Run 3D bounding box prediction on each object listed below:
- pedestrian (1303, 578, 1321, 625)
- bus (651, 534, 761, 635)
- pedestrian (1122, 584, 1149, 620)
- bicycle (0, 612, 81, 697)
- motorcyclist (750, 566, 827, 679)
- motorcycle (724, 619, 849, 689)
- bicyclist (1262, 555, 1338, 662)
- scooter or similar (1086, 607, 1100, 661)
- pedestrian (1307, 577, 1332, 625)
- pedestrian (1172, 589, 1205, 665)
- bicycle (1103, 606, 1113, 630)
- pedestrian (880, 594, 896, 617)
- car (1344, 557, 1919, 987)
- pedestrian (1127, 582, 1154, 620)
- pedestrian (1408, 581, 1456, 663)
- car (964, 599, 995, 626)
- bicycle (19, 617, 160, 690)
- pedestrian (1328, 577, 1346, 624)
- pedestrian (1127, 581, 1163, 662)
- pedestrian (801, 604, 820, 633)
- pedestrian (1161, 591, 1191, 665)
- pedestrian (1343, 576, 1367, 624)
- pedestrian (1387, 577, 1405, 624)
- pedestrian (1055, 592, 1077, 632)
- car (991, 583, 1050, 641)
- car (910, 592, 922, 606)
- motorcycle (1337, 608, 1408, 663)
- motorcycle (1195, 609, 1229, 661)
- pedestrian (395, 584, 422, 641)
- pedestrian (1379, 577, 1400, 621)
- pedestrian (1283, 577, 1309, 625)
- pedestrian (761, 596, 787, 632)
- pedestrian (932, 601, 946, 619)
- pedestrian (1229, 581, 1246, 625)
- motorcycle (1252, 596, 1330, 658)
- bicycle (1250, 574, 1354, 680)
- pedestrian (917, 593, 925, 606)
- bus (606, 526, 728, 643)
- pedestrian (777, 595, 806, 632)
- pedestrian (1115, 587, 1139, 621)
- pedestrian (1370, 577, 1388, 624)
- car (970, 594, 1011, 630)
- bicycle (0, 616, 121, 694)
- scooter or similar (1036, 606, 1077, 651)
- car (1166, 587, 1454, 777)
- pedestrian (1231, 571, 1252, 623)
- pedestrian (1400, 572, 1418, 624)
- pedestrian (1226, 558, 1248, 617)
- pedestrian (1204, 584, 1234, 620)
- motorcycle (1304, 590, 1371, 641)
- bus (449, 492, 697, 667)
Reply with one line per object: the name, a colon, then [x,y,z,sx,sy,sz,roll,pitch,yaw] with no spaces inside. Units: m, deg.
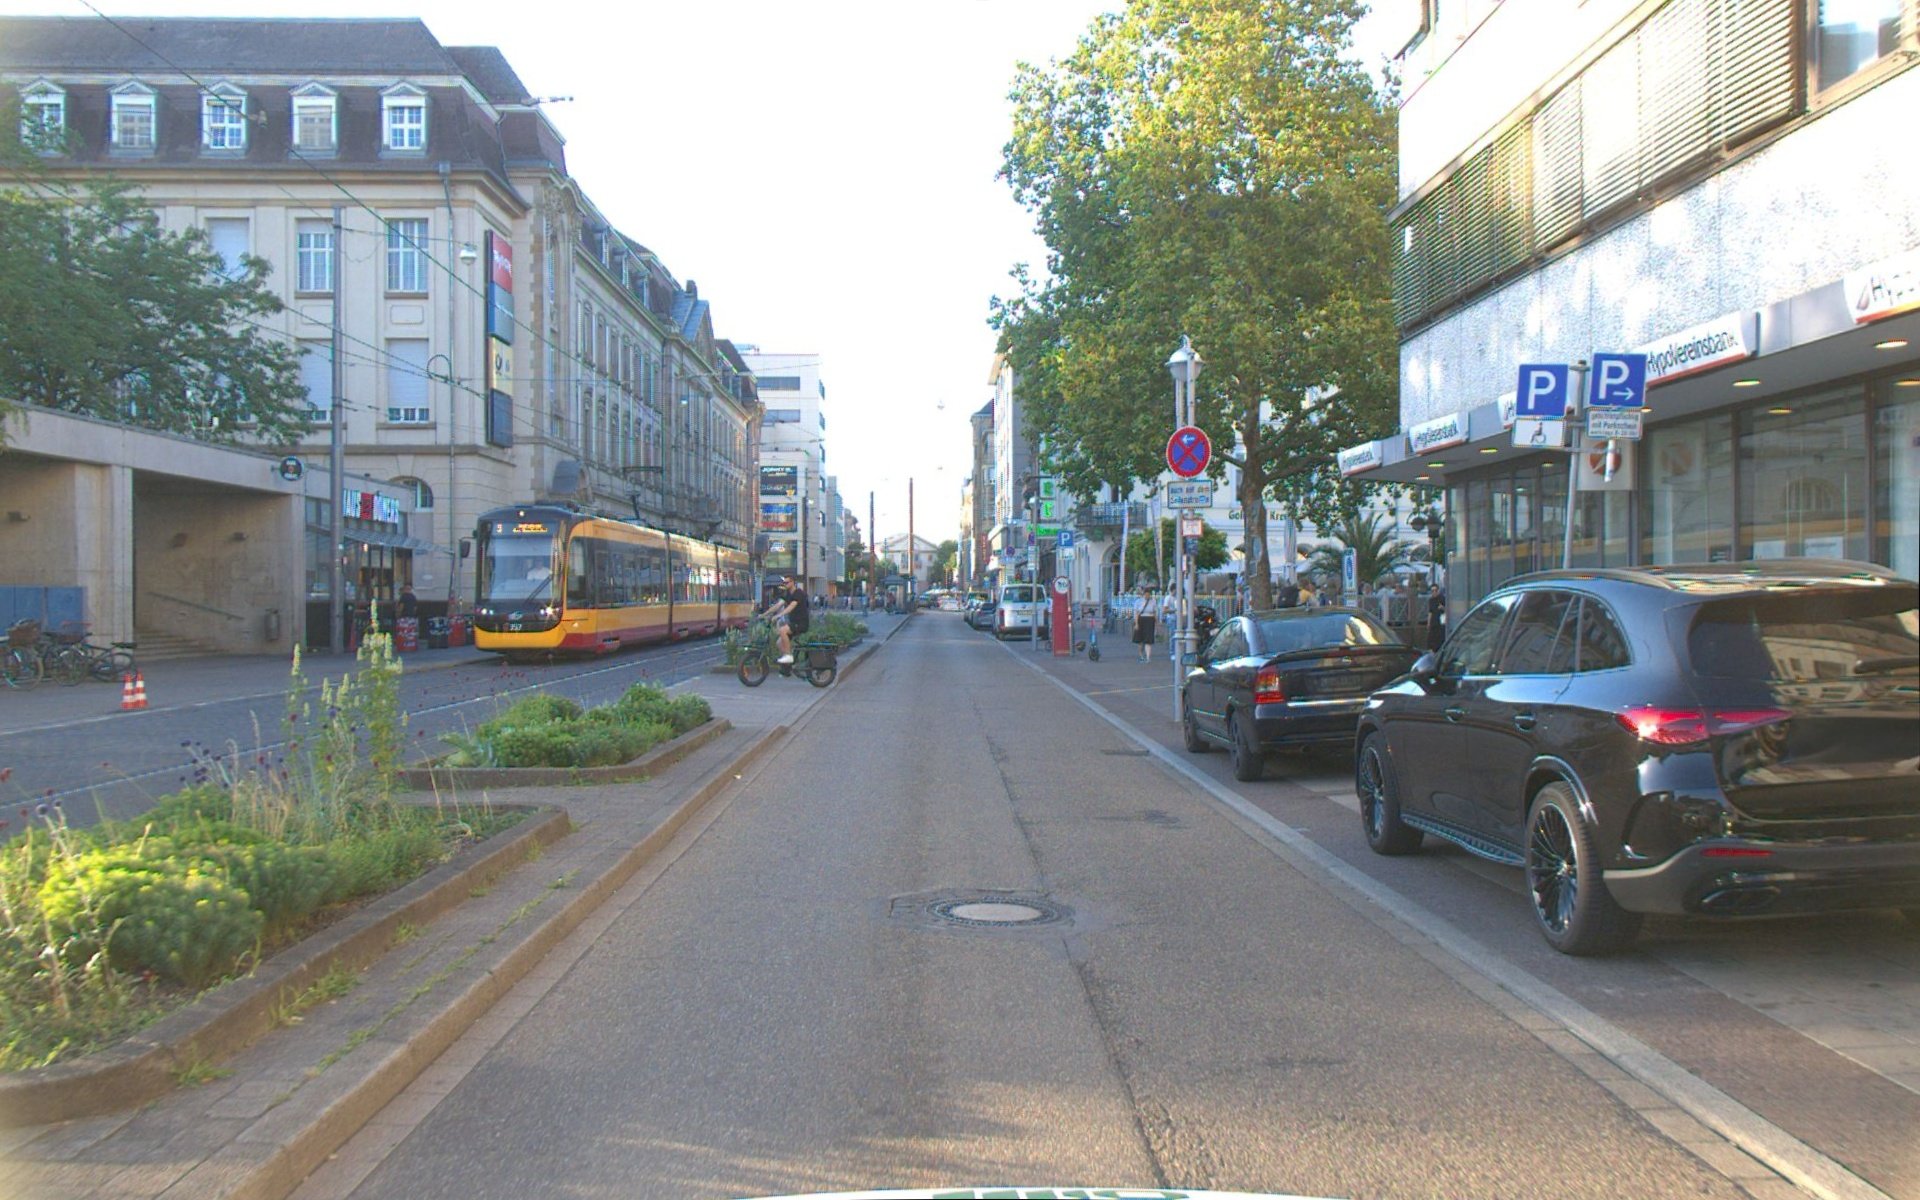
pedestrian: [10.088,0.050,47.401,0.464,1.307,0.540,-1,-2,15]
bus: [-10.028,-0.480,66.620,2.765,3.676,11.819,0,-1,-1]
pedestrian: [6.602,0.068,62.133,0.884,1.329,0.966,0,-2,-2]
bicycle: [-15.224,0.869,26.288,2.152,1.323,0.579,0,-2,-1]
motorcyclist: [-2.872,0.378,27.649,0.990,1.845,0.951,0,-2,-28]
motorcycle: [-2.887,0.892,27.632,2.020,1.143,0.563,0,-2,-28]
bicyclist: [5.892,0.146,28.666,0.954,1.807,0.925,0,0,45]
scooter or similar: [3.185,0.803,39.504,0.308,1.243,1.273,0,0,6]
pedestrian: [9.987,0.022,45.904,0.630,1.307,0.741,-1,-2,15]
pedestrian: [5.309,0.624,38.435,0.664,1.747,0.654,-1,-2,1]
bicycle: [5.937,0.723,66.253,0.245,0.918,1.373,0,-2,-1]
pedestrian: [-5.361,0.428,123.574,1.026,1.715,0.909,-1,-2,10]
car: [3.399,0.571,8.387,1.740,1.565,4.577,0,1,-1]
pedestrian: [6.662,0.042,61.102,0.884,1.337,0.966,0,-2,-2]
pedestrian: [10.417,0.496,36.495,0.816,1.772,0.649,1,-2,-39]
car: [1.278,0.883,111.101,1.953,1.696,4.419,0,-2,-1]
bicycle: [-15.500,0.947,29.481,2.196,1.253,0.585,0,-1,-1]
pedestrian: [10.718,0.028,46.976,0.464,1.307,0.540,-1,-2,15]
pedestrian: [4.254,0.495,38.113,0.699,1.835,0.824,-2,-1,2]
pedestrian: [-8.971,1.116,99.329,1.030,1.715,0.906,0,0,-11]
pedestrian: [5.116,0.663,39.204,0.601,1.747,0.662,-1,-2,1]
pedestrian: [10.995,0.014,46.025,0.630,1.307,0.741,-1,-2,15]
pedestrian: [12.451,0.018,47.249,0.464,1.307,0.540,-1,-2,15]
pedestrian: [4.730,0.549,73.764,0.772,1.782,0.893,0,-2,-8]
car: [2.157,0.442,60.168,1.876,2.016,4.420,0,0,-1]
car: [-5.998,-0.101,225.667,1.725,1.859,3.569,0,-2,-1]
motorcycle: [10.002,0.844,40.154,0.554,1.304,1.940,0,0,-27]
motorcycle: [5.928,0.817,38.969,0.446,1.178,2.031,0,0,-1]
pedestrian: [-16.211,0.370,48.606,0.704,1.674,0.655,1,0,-23]
pedestrian: [12.910,-0.021,49.727,0.527,1.307,0.475,-1,-2,9]
pedestrian: [9.371,0.038,46.135,0.630,1.307,0.741,-1,-2,15]
pedestrian: [-8.068,0.629,71.717,0.746,1.540,0.858,-2,-2,42]
pedestrian: [-2.220,1.063,175.069,1.210,1.962,1.017,0,0,-17]
pedestrian: [8.377,0.098,49.955,0.463,1.307,0.540,-1,-2,13]
motorcycle: [7.939,0.620,39.731,0.557,1.448,2.276,0,0,-27]
bicycle: [5.945,0.453,28.677,0.593,1.770,2.351,0,0,45]
pedestrian: [-5.311,-0.048,224.041,0.768,1.765,0.809,-2,-2,39]
bus: [-9.866,-0.510,56.543,2.765,3.688,8.288,0,0,-1]
pedestrian: [-7.246,0.587,71.290,0.706,1.540,1.031,-2,-2,42]
pedestrian: [6.512,0.159,64.547,0.806,1.329,0.869,0,-2,-2]
pedestrian: [11.798,0.019,46.612,0.464,1.307,0.540,-1,-2,15]
car: [1.545,0.603,84.980,1.953,1.791,4.420,0,0,-1]
bicycle: [-15.374,0.931,27.811,2.196,1.277,0.579,0,-2,-1]
scooter or similar: [2.747,0.809,47.165,1.102,1.237,0.300,-2,-1,0]
car: [3.067,0.650,15.380,1.622,1.404,4.340,-4,0,-1]
pedestrian: [8.898,-0.092,52.303,0.605,1.599,0.631,-1,-2,13]
pedestrian: [12.565,-0.055,46.289,0.464,1.424,0.540,-1,-2,15]
pedestrian: [11.061,-0.482,66.043,0.604,2.345,0.577,0,-2,-23]
pedestrian: [9.611,0.070,61.514,0.944,1.289,0.905,0,-2,-1]
motorcycle: [9.133,0.357,40.089,0.544,1.171,1.782,0,2,-27]
bus: [-9.634,-0.464,43.874,2.765,3.715,17.069,0,0,-1]
